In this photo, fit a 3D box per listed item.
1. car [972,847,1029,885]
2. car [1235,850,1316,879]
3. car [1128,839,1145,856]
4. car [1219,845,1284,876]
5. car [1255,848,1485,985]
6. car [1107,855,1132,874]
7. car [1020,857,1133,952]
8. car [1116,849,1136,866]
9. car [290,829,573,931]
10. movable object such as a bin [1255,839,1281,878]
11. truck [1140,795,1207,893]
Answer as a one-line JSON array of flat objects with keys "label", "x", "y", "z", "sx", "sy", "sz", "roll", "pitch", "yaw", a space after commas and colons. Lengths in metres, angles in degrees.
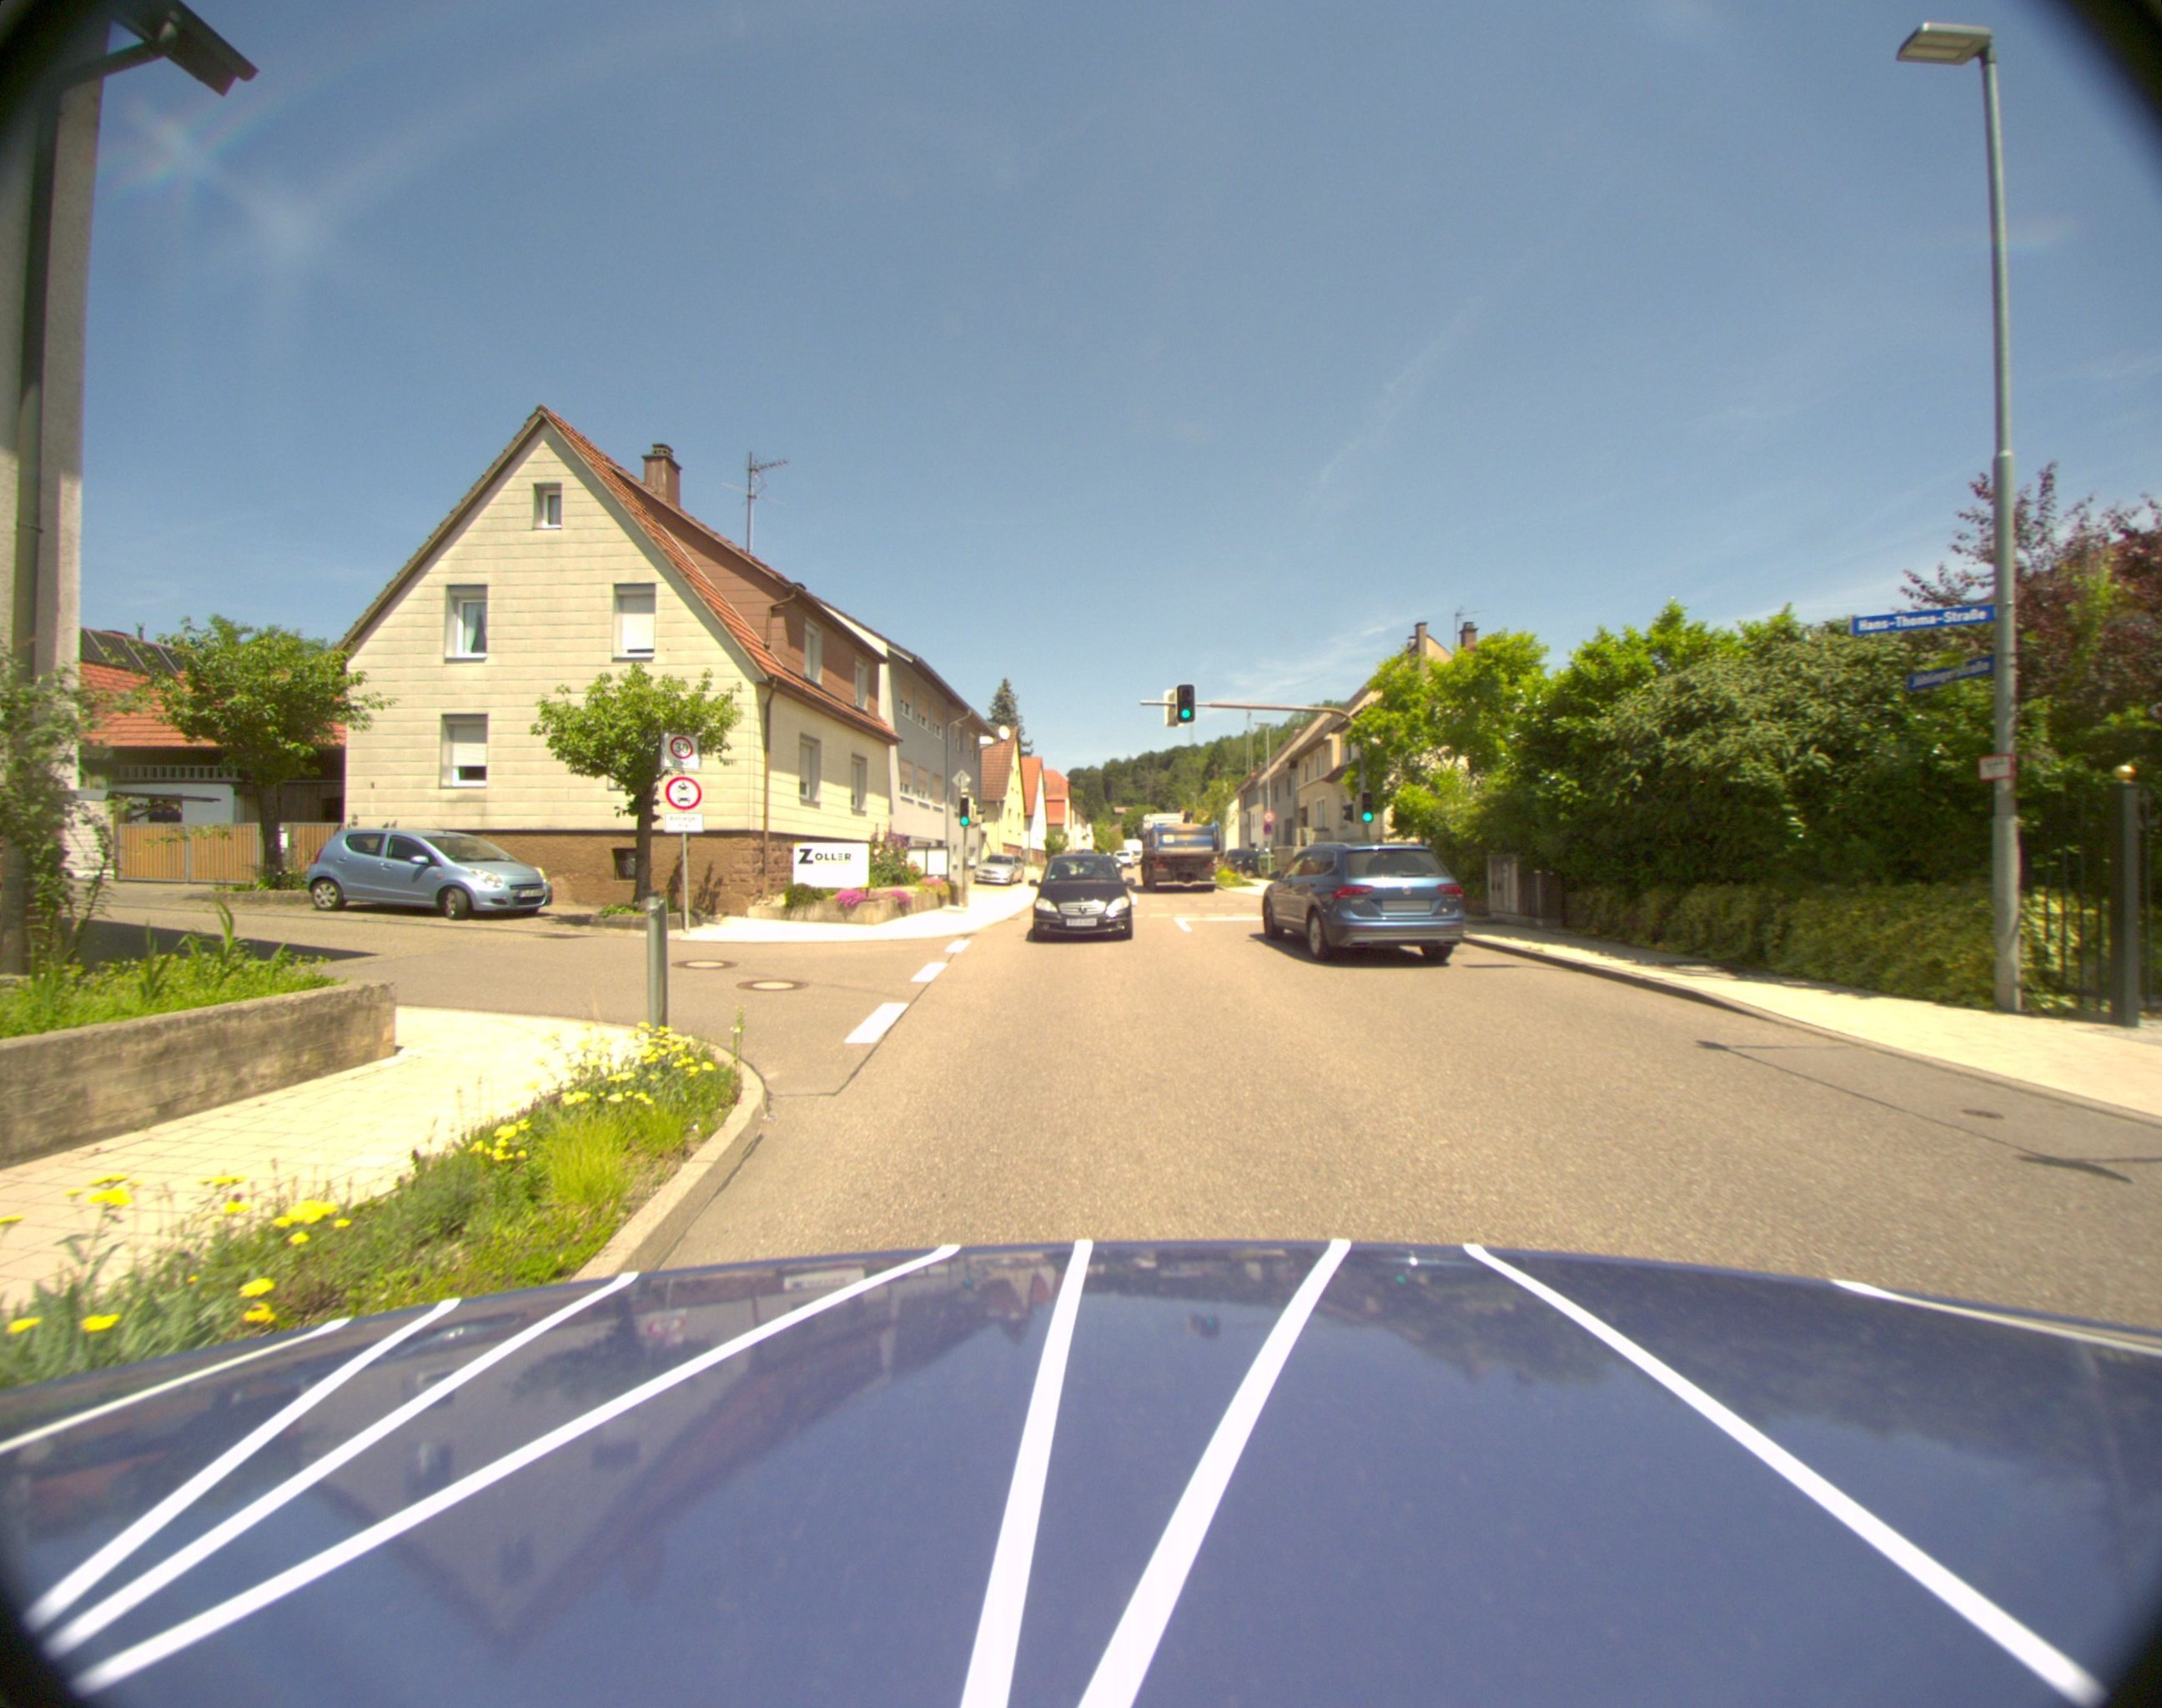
[{"label": "car", "x": -3.856, "y": 0.545, "z": 37.075, "sx": 1.866, "sy": 1.612, "sz": 4.509, "roll": 3, "pitch": 1, "yaw": 5}, {"label": "car", "x": 10.824, "y": 0.569, "z": 42.441, "sx": 4.040, "sy": 1.491, "sz": 1.707, "roll": -1, "pitch": 1, "yaw": 42}, {"label": "car", "x": 7.608, "y": -0.939, "z": 104.265, "sx": 1.986, "sy": 2.170, "sz": 4.001, "roll": -2, "pitch": 1, "yaw": 7}, {"label": "car", "x": 10.426, "y": 0.386, "z": 46.686, "sx": 3.605, "sy": 1.780, "sz": 1.848, "roll": -2, "pitch": 1, "yaw": 3}, {"label": "car", "x": 4.082, "y": 0.750, "z": 11.639, "sx": 1.892, "sy": 1.636, "sz": 4.613, "roll": -1, "pitch": 1, "yaw": 2}, {"label": "car", "x": 3.211, "y": 0.866, "z": 63.601, "sx": 1.998, "sy": 1.477, "sz": 4.223, "roll": -2, "pitch": 0, "yaw": 3}, {"label": "car", "x": 0.085, "y": 0.873, "z": 15.369, "sx": 1.766, "sy": 1.571, "sz": 4.933, "roll": -2, "pitch": 0, "yaw": 5}, {"label": "car", "x": 4.686, "y": 0.351, "z": 80.072, "sx": 1.998, "sy": 1.716, "sz": 4.000, "roll": -2, "pitch": 0, "yaw": 3}, {"label": "car", "x": -11.271, "y": 0.404, "z": 13.332, "sx": 3.521, "sy": 1.484, "sz": 1.800, "roll": 3, "pitch": 1, "yaw": 5}, {"label": "movable object such as a bin", "x": 10.019, "y": 0.228, "z": 40.798, "sx": 1.061, "sy": 2.002, "sz": 1.323, "roll": -2, "pitch": 1, "yaw": 4}, {"label": "truck", "x": 3.947, "y": -0.391, "z": 33.422, "sx": 2.547, "sy": 3.716, "sz": 8.625, "roll": 0, "pitch": 0, "yaw": 5}]
